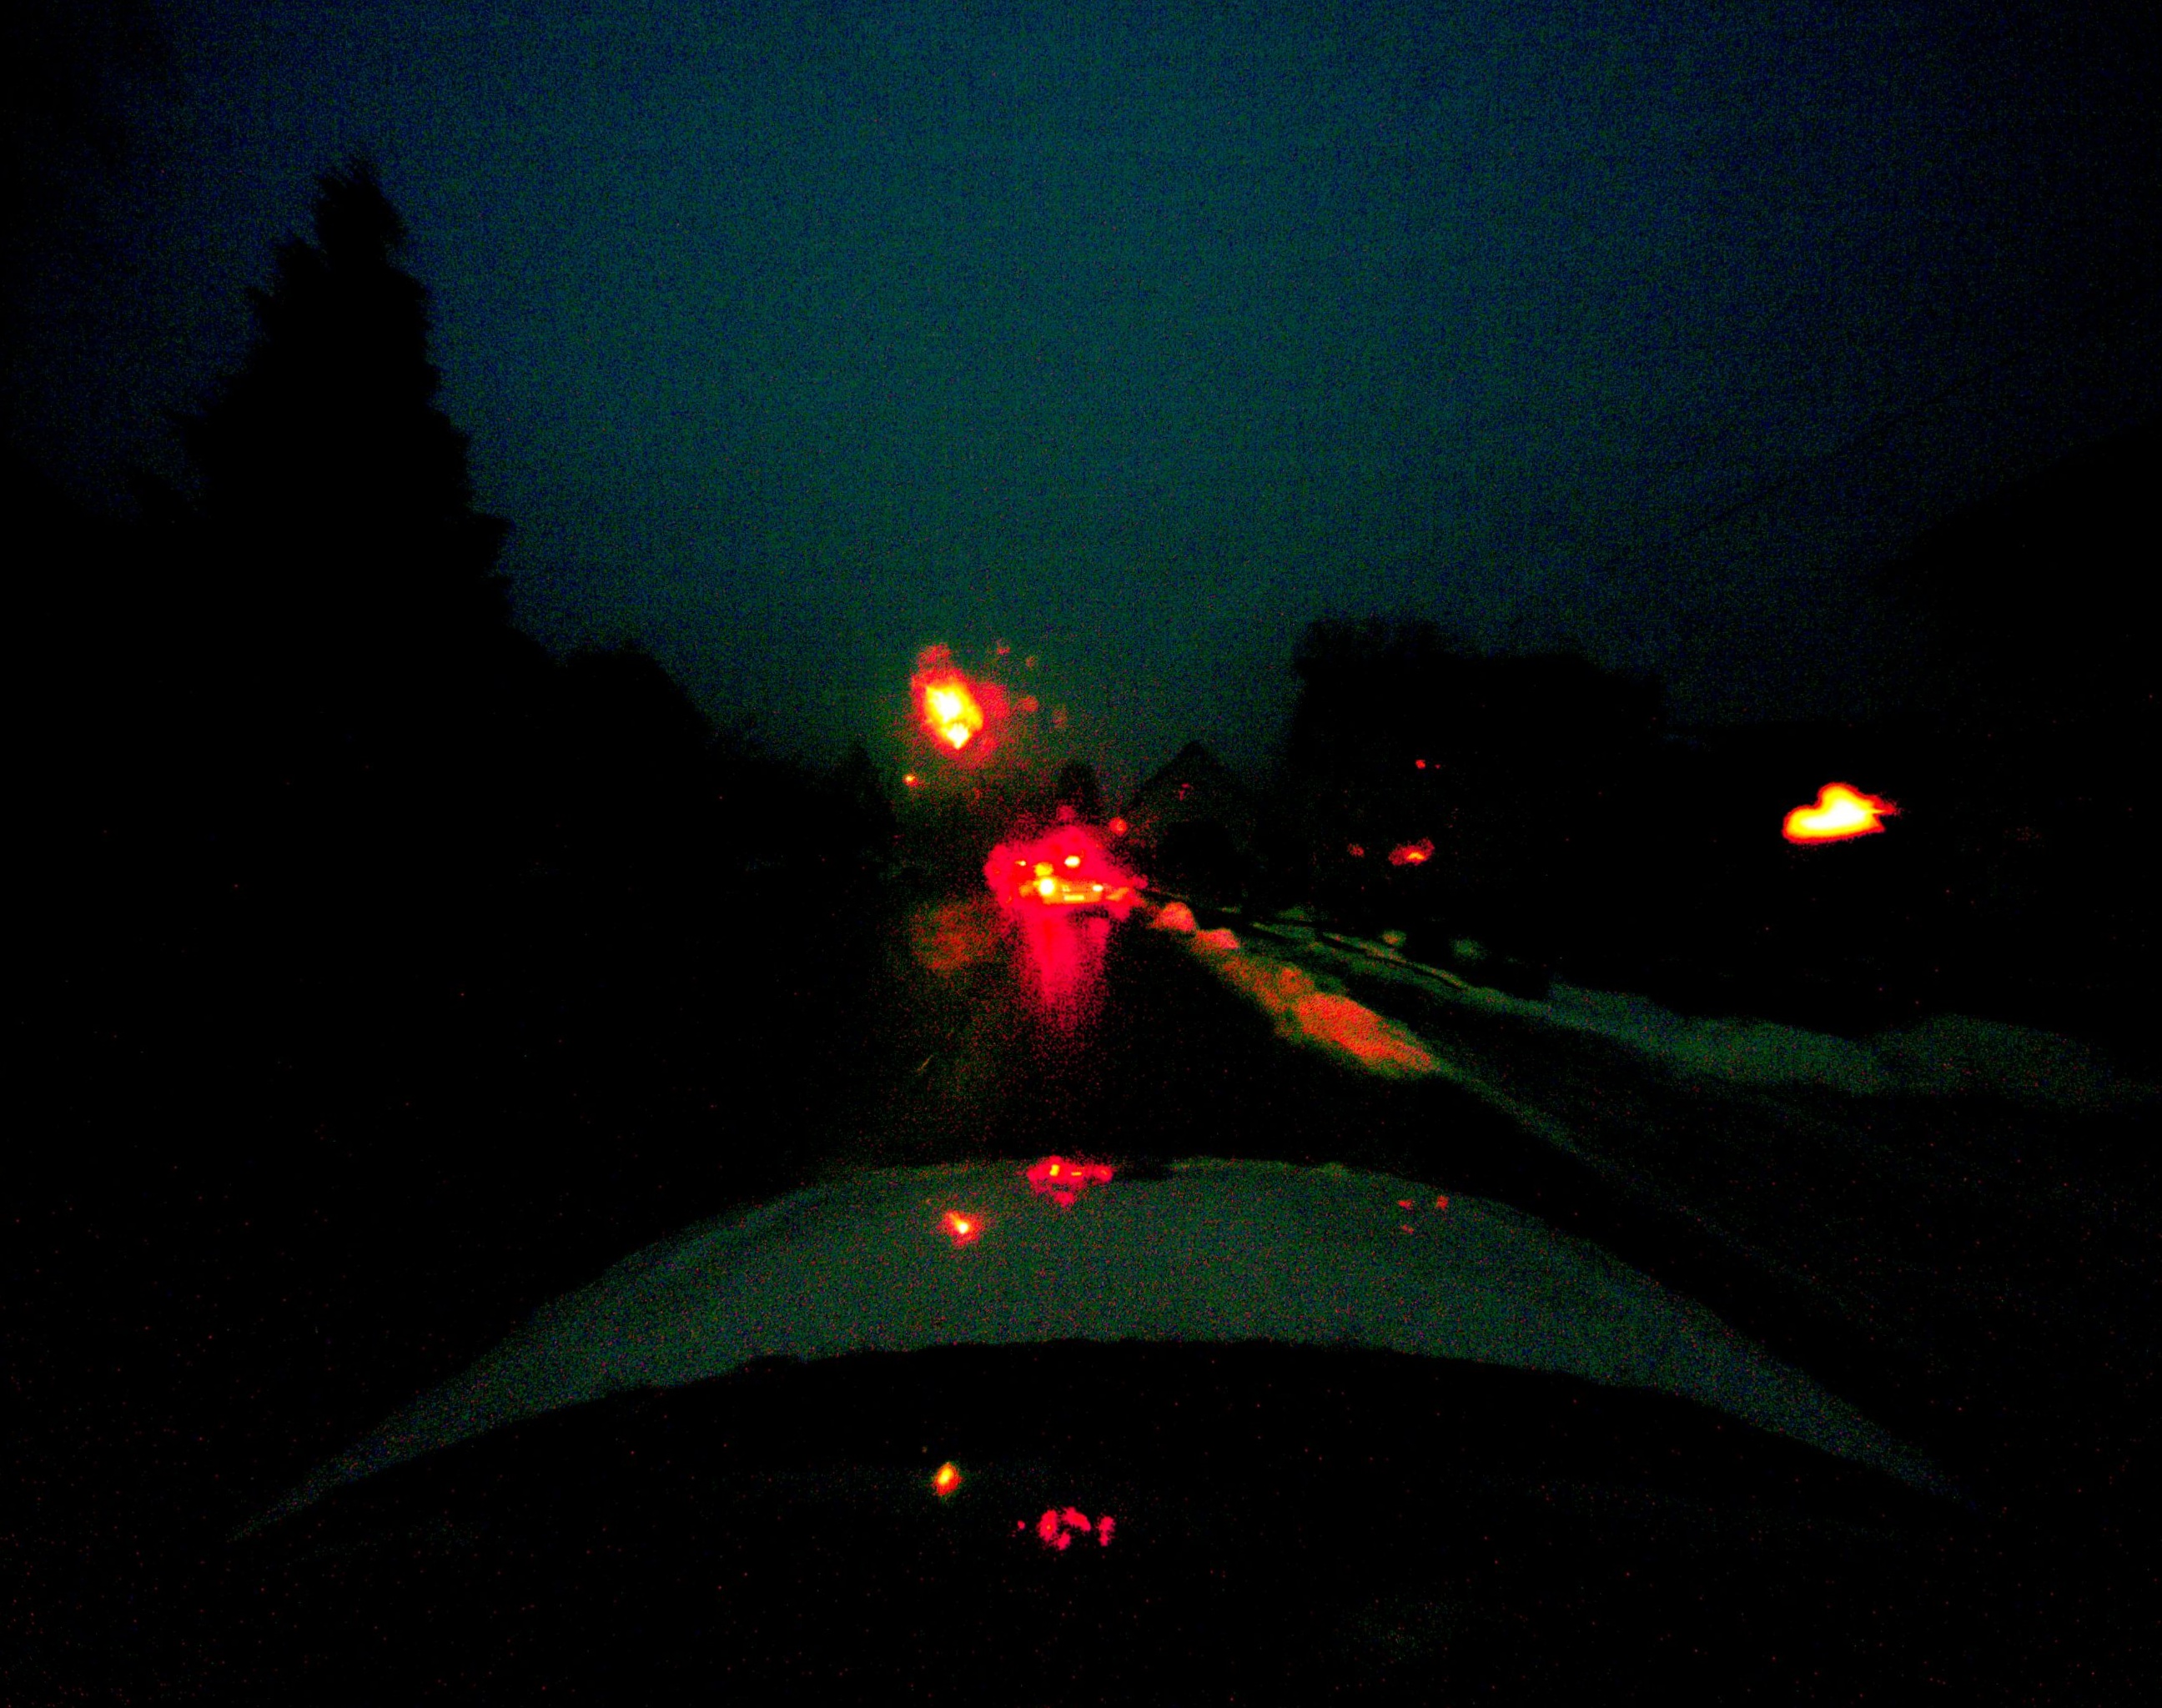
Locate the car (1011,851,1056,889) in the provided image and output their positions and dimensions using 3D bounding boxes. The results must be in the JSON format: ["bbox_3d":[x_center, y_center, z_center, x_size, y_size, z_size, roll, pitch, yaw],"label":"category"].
[{"bbox_3d":[-2.343,0.758,39.301,1.991,1.737,3.870,0,-1,-6],"label":"car"}]

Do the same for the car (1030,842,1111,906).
[{"bbox_3d":[-0.383,0.534,22.398,1.895,1.609,3.991,0,-1,-6],"label":"car"}]
